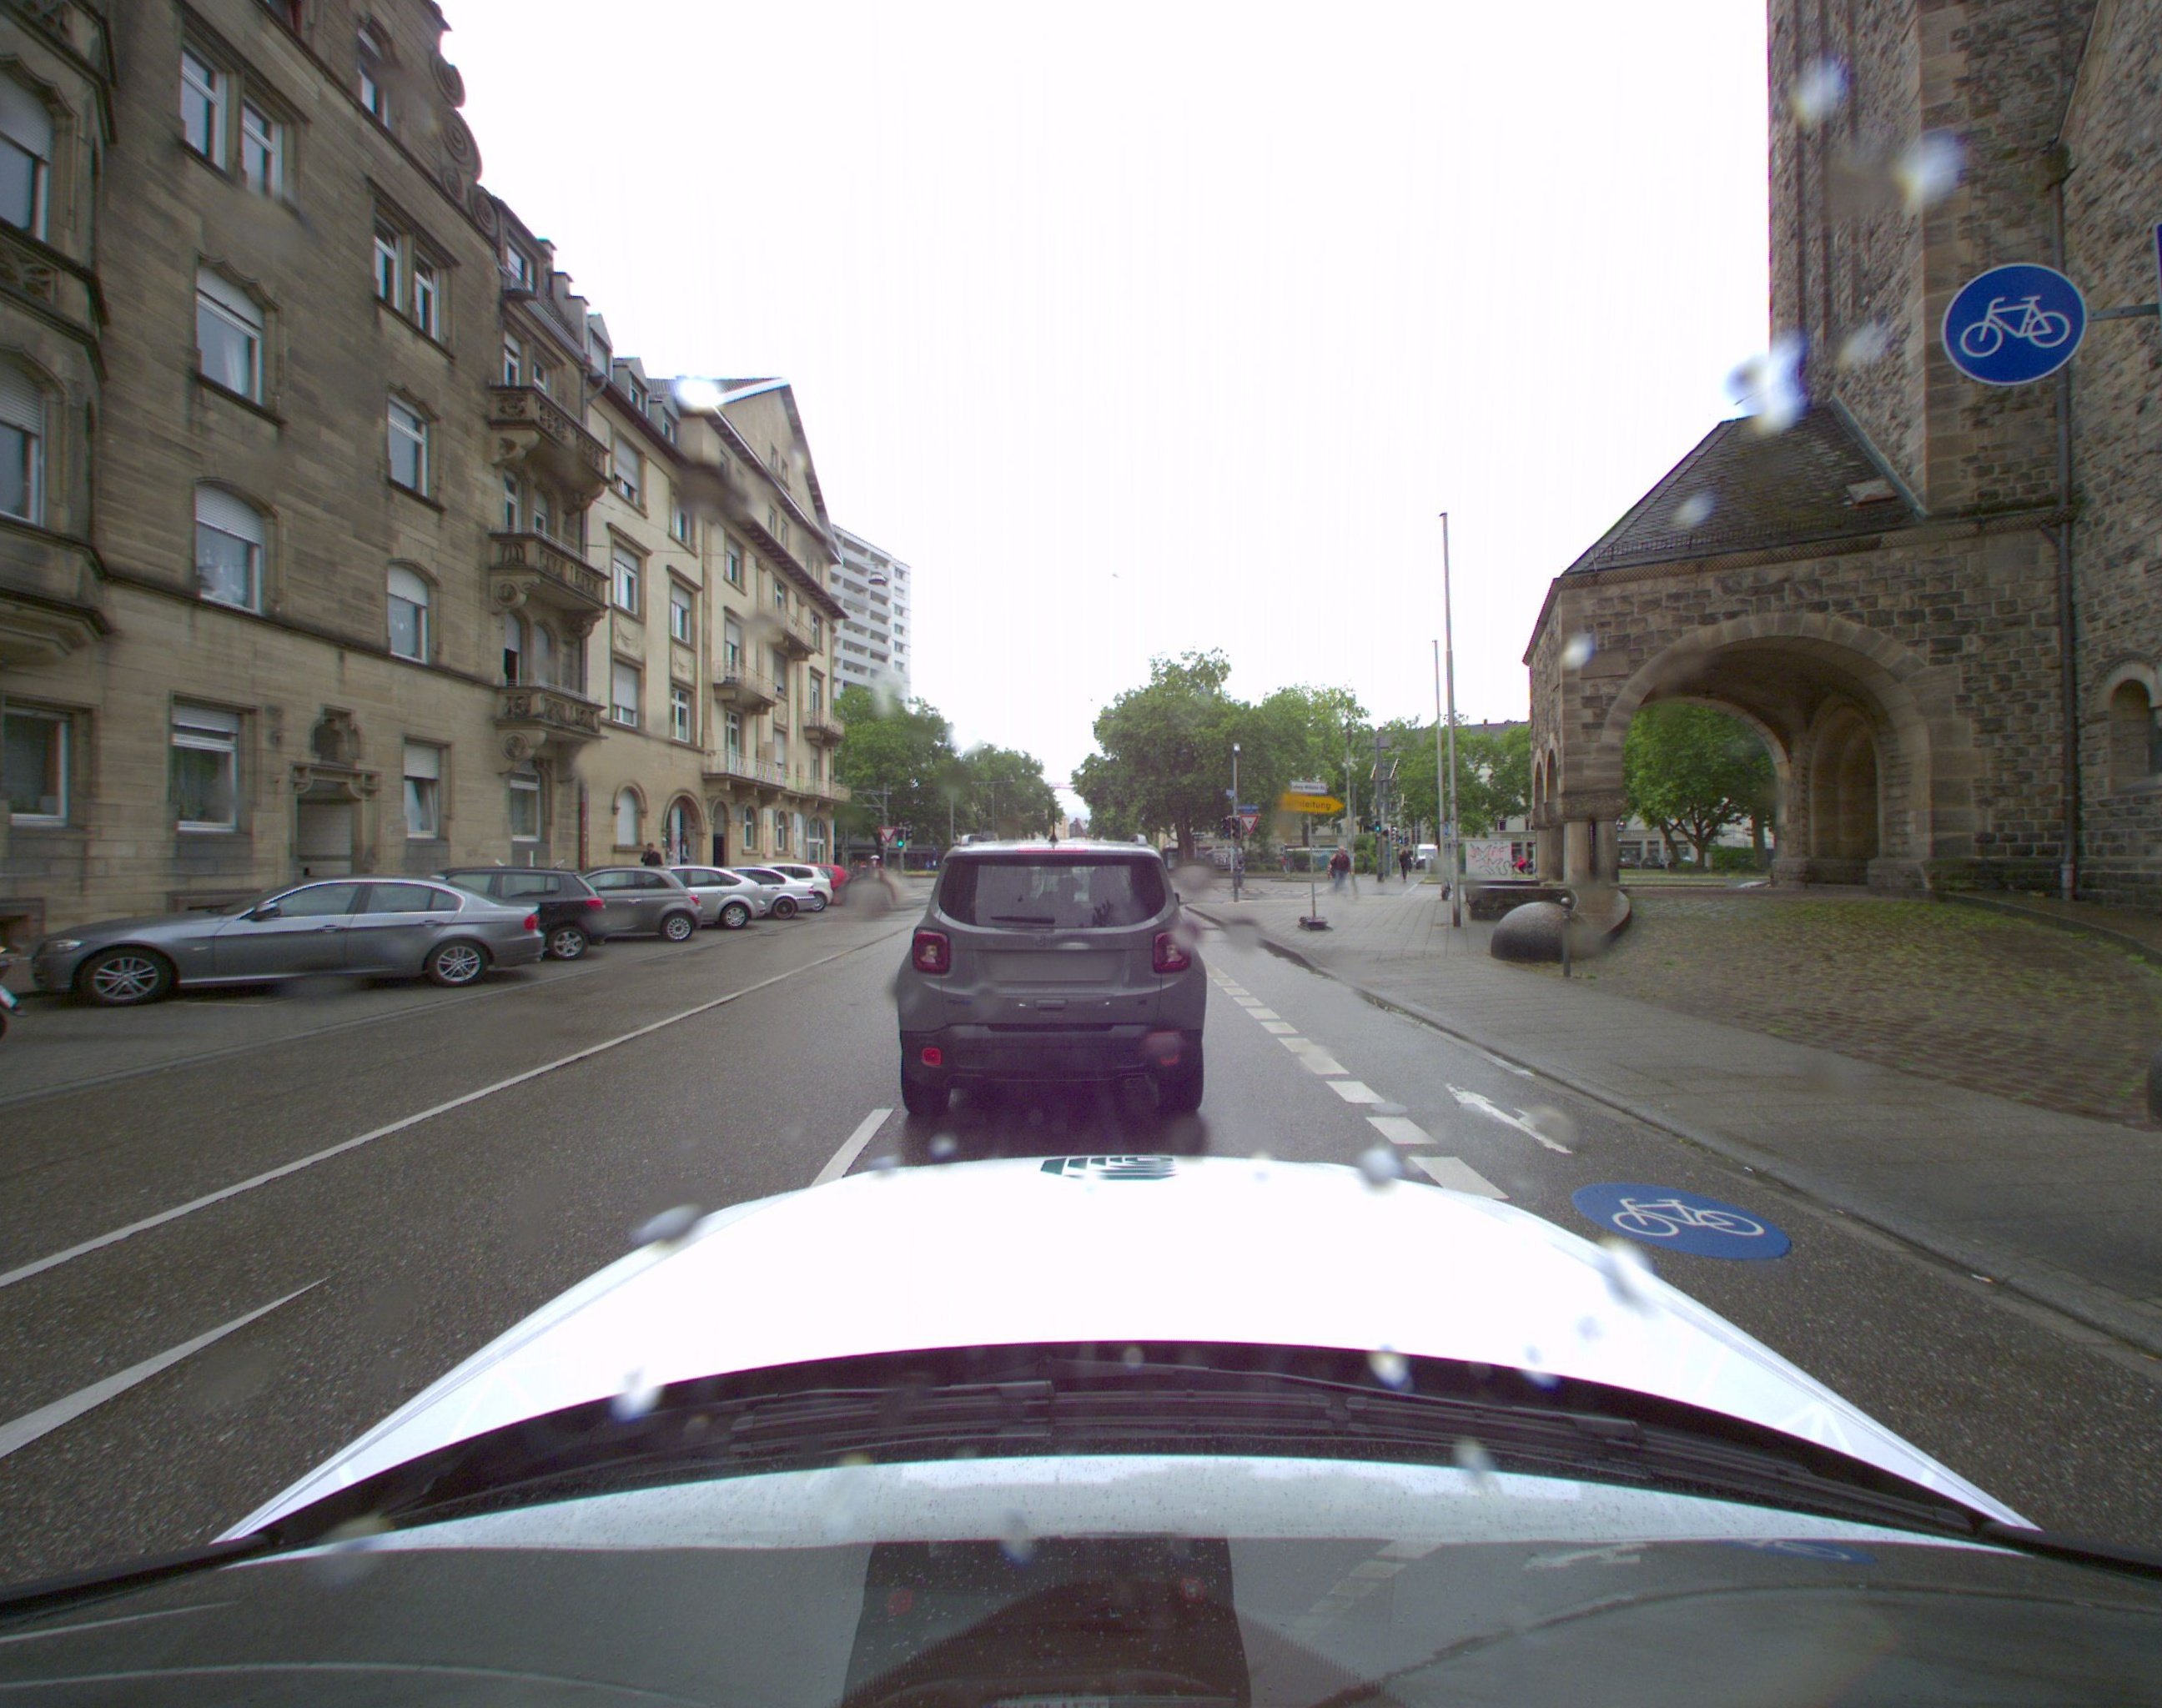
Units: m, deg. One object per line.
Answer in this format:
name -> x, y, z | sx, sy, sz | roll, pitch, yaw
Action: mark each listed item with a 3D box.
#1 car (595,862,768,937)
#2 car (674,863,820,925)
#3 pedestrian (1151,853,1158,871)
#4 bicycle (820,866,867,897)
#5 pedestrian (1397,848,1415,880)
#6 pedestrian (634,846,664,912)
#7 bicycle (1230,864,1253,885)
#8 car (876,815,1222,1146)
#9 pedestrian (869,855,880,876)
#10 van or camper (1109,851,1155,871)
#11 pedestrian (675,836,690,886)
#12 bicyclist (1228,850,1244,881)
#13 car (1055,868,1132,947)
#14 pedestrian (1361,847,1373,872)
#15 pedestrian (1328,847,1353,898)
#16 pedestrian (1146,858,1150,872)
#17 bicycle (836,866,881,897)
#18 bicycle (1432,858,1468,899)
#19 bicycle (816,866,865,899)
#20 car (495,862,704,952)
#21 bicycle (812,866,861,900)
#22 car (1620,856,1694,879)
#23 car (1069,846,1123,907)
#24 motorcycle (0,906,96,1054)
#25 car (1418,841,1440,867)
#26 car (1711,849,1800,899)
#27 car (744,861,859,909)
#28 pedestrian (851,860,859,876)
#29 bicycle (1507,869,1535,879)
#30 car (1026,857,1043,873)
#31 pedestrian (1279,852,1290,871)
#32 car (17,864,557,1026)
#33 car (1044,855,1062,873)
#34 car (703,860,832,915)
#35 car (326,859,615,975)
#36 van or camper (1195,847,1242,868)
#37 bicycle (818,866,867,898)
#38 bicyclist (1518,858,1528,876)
car -> -9.419, 1.001, 19.281 | 3.419, 1.558, 1.686 | 0, -1, -38
car -> -9.211, 1.039, 22.545 | 3.419, 1.558, 1.686 | 0, -1, -38
pedestrian -> 8.313, 0.916, 92.307 | 0.646, 2.014, 0.484 | -1, -1, 14
bicycle -> -9.999, 1.138, 34.307 | 1.758, 1.266, 0.608 | -1, -1, -1
pedestrian -> 17.032, 0.541, 42.712 | 0.775, 1.645, 0.659 | -2, -1, 25
pedestrian -> -13.329, 0.754, 25.132 | 0.565, 2.014, 0.655 | -1, -1, 1
bicycle -> 8.517, 1.059, 43.175 | 0.686, 1.021, 2.672 | -2, 0, 21
car -> -0.144, 0.670, 6.202 | 1.769, 1.687, 3.848 | -2, 0, 1
pedestrian -> -17.765, 1.003, 70.073 | 0.614, 1.826, 0.697 | -1, -1, 15
van or camper -> 7.831, 1.045, 124.725 | 6.465, 2.912, 2.509 | -1, -1, 28
pedestrian -> -14.480, 0.254, 29.600 | 0.365, 1.823, 0.347 | -1, -1, -1
bicyclist -> 8.206, 0.605, 43.104 | 0.681, 1.617, 0.888 | -2, -1, 21
car -> 0.265, 0.988, 16.302 | 1.358, 1.376, 3.313 | -1, 0, 1
pedestrian -> 23.163, 0.453, 65.899 | 0.798, 2.014, 0.593 | -1, -1, 28
pedestrian -> 9.127, 0.648, 28.653 | 0.780, 1.759, 0.949 | -2, -1, 16
pedestrian -> 8.477, 1.414, 102.483 | 0.456, 1.704, 0.424 | -1, -1, 2
bicycle -> -9.597, 1.181, 35.179 | 1.758, 1.266, 0.608 | -1, -1, -1
bicycle -> 11.017, 0.710, 24.365 | 0.327, 1.154, 2.079 | -1, 0, 7
bicycle -> -9.624, 1.130, 32.588 | 1.804, 1.266, 0.498 | -1, -1, -1
car -> -9.565, 0.971, 16.254 | 3.419, 1.558, 1.634 | 0, -1, -38
bicycle -> -9.621, 1.136, 32.041 | 1.758, 1.266, 0.522 | -1, -1, -1
car -> 35.996, 0.825, 50.982 | 3.528, 1.387, 1.638 | -1, 0, 23
car -> 0.546, 0.750, 28.875 | 1.764, 2.014, 4.001 | -1, 0, 1
motorcycle -> -9.422, 1.018, 6.472 | 1.880, 1.162, 0.627 | 2, -2, -36
car -> 35.457, 0.021, 82.931 | 1.889, 2.555, 4.814 | -1, -1, 25
car -> 21.347, 0.610, 25.880 | 1.389, 1.479, 3.239 | -1, 0, 25
car -> -9.669, 1.030, 28.288 | 3.419, 1.558, 1.686 | 0, -1, -38
pedestrian -> -22.427, 1.371, 80.902 | 0.438, 1.530, 0.647 | -1, -1, 27
bicycle -> 30.962, 1.418, 57.333 | 1.683, 0.719, 0.656 | -1, -1, 22
car -> -4.995, 1.183, 87.667 | 1.810, 1.670, 3.916 | -1, 0, -3
pedestrian -> 17.210, 0.662, 68.790 | 0.667, 1.554, 0.766 | -1, -2, 29
car -> -9.427, 0.934, 10.247 | 4.573, 1.545, 1.668 | -1, -1, -42
car -> -2.830, 1.010, 81.446 | 1.717, 1.739, 3.726 | -1, 0, -2
car -> -9.697, 0.989, 25.275 | 3.419, 1.558, 1.686 | 0, -1, -38
car -> -9.733, 0.908, 13.227 | 3.570, 1.598, 1.587 | 0, -1, -38
van or camper -> 15.918, 0.414, 94.317 | 5.234, 2.315, 2.093 | 0, 0, 5
bicycle -> -9.735, 1.144, 33.274 | 1.804, 1.266, 0.498 | -1, -1, -1
bicyclist -> 31.072, 0.882, 57.265 | 0.518, 1.250, 0.656 | -1, -1, 23
